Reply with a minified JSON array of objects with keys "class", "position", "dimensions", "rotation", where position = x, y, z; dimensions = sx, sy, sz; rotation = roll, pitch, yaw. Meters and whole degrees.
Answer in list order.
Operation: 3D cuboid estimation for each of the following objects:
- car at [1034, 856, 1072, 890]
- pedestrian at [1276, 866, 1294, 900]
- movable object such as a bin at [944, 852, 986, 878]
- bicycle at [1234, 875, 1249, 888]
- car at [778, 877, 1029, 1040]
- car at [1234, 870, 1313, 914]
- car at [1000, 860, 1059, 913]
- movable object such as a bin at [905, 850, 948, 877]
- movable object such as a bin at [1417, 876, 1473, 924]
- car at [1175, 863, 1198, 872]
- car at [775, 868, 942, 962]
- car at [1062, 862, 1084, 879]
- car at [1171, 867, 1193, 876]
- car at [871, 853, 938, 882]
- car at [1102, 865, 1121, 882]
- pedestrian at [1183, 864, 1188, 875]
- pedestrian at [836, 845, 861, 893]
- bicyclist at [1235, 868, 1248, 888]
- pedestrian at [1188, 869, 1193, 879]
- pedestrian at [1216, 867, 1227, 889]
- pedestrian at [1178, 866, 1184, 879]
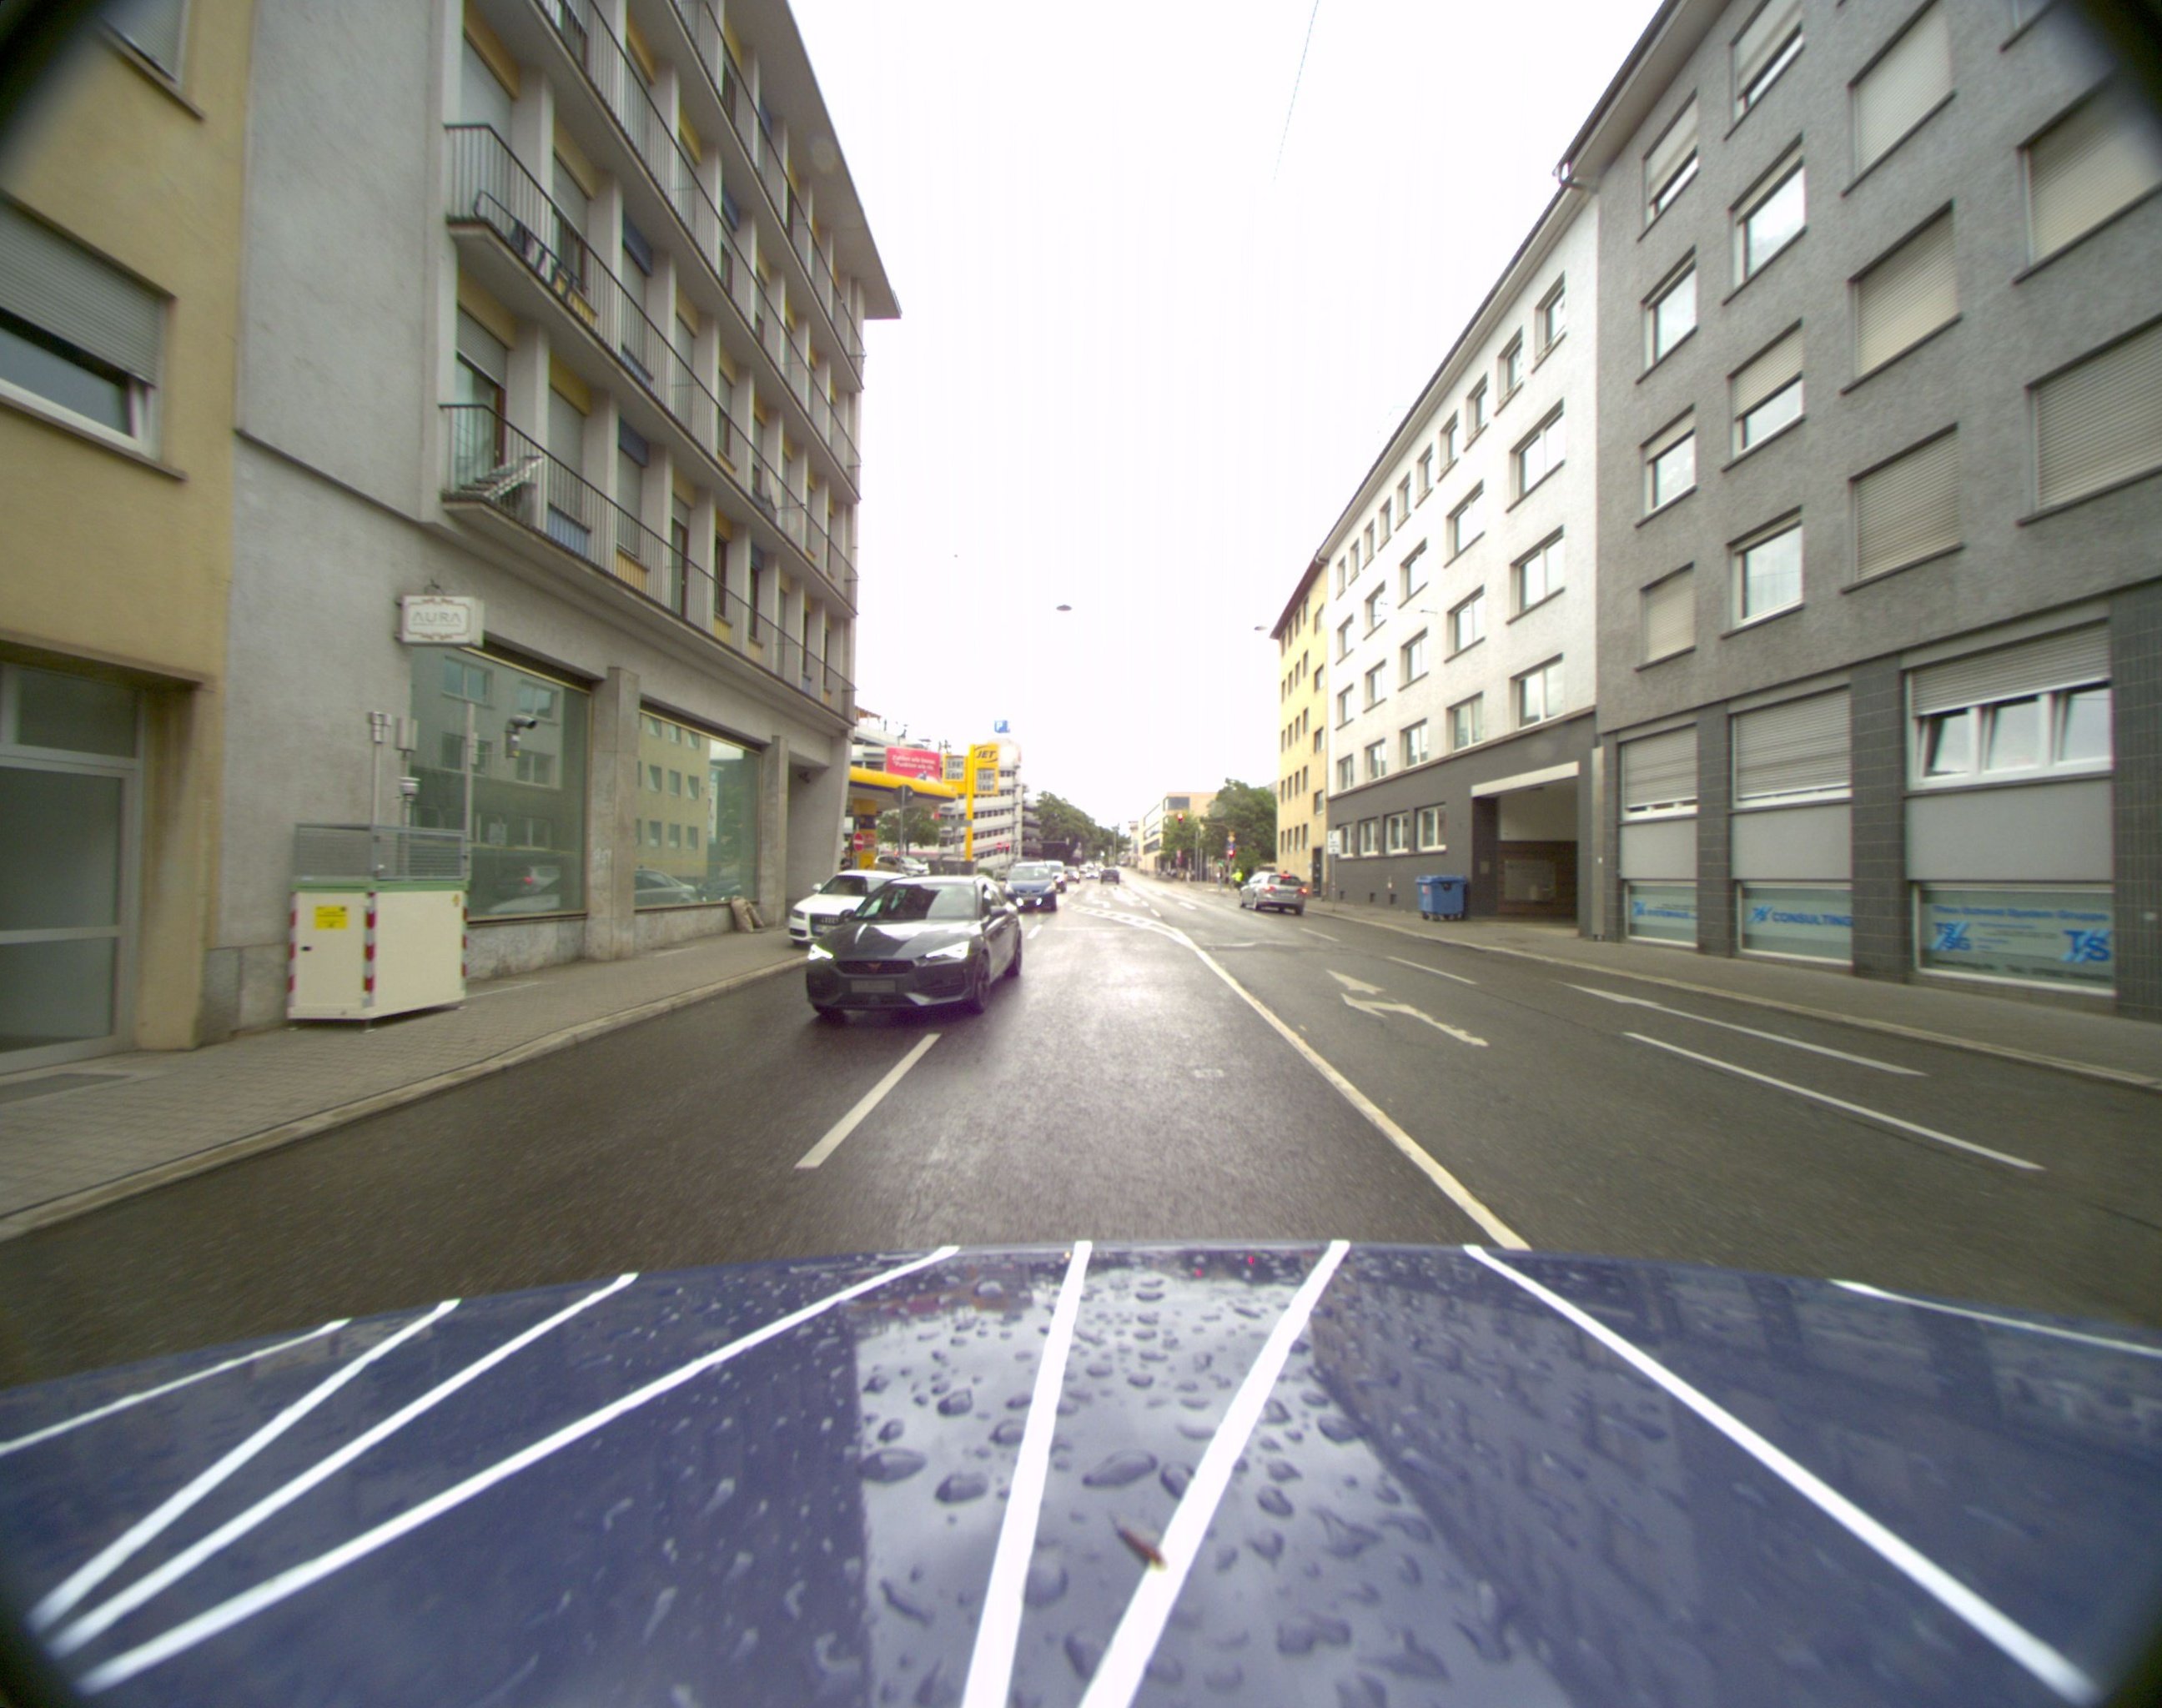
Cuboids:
[{"class":"car","position":[-1.567,1.096,43.781],"dimensions":[1.804,1.817,3.951],"rotation":[-1,-1,3]},{"class":"pedestrian","position":[10.251,1.439,38.245],"dimensions":[0.719,1.679,0.811],"rotation":[-1,0,4]},{"class":"movable object such as a bin","position":[-7.098,0.675,46.640],"dimensions":[2.160,1.565,1.773],"rotation":[1,0,2]},{"class":"bicycle","position":[12.070,2.078,57.145],"dimensions":[0.887,0.902,1.867],"rotation":[-1,-1,4]},{"class":"car","position":[-1.777,1.026,9.214],"dimensions":[1.738,1.380,4.584],"rotation":[-1,-1,3]},{"class":"car","position":[7.123,1.358,28.515],"dimensions":[1.831,1.408,4.296],"rotation":[4,-1,1]},{"class":"car","position":[-1.697,1.053,25.939],"dimensions":[1.846,1.646,3.999],"rotation":[0,-1,-2]},{"class":"movable object such as a bin","position":[-9.482,0.576,46.631],"dimensions":[2.160,1.546,1.773],"rotation":[2,0,2]},{"class":"movable object such as a bin","position":[10.674,1.334,22.314],"dimensions":[1.079,1.316,1.191],"rotation":[-1,0,2]},{"class":"car","position":[18.727,2.340,135.087],"dimensions":[3.995,1.575,2.001],"rotation":[-1,0,6]},{"class":"car","position":[-4.181,1.070,15.155],"dimensions":[1.898,1.394,4.609],"rotation":[5,-1,0]},{"class":"car","position":[-0.771,1.593,73.172],"dimensions":[1.804,1.561,3.951],"rotation":[-1,-1,3]},{"class":"car","position":[18.287,3.128,137.624],"dimensions":[3.995,1.575,2.001],"rotation":[-1,0,6]},{"class":"car","position":[-9.961,0.721,42.710],"dimensions":[1.750,1.433,3.987],"rotation":[2,0,-44]},{"class":"car","position":[3.100,1.931,75.856],"dimensions":[1.812,1.585,4.296],"rotation":[1,-1,3]},{"class":"pedestrian","position":[14.195,2.053,103.107],"dimensions":[0.595,1.507,0.692],"rotation":[-1,0,1]},{"class":"pedestrian","position":[-8.899,0.575,29.035],"dimensions":[0.661,1.761,0.528],"rotation":[3,1,-40]},{"class":"bicyclist","position":[12.044,1.801,57.087],"dimensions":[0.844,1.433,0.813],"rotation":[-1,0,4]},{"class":"pedestrian","position":[14.644,2.633,101.763],"dimensions":[0.622,1.368,0.475],"rotation":[-1,0,2]},{"class":"pedestrian","position":[10.832,1.811,58.532],"dimensions":[0.719,1.679,0.811],"rotation":[-1,0,4]},{"class":"pedestrian","position":[13.390,2.429,101.678],"dimensions":[0.595,1.761,0.692],"rotation":[-1,0,1]}]
